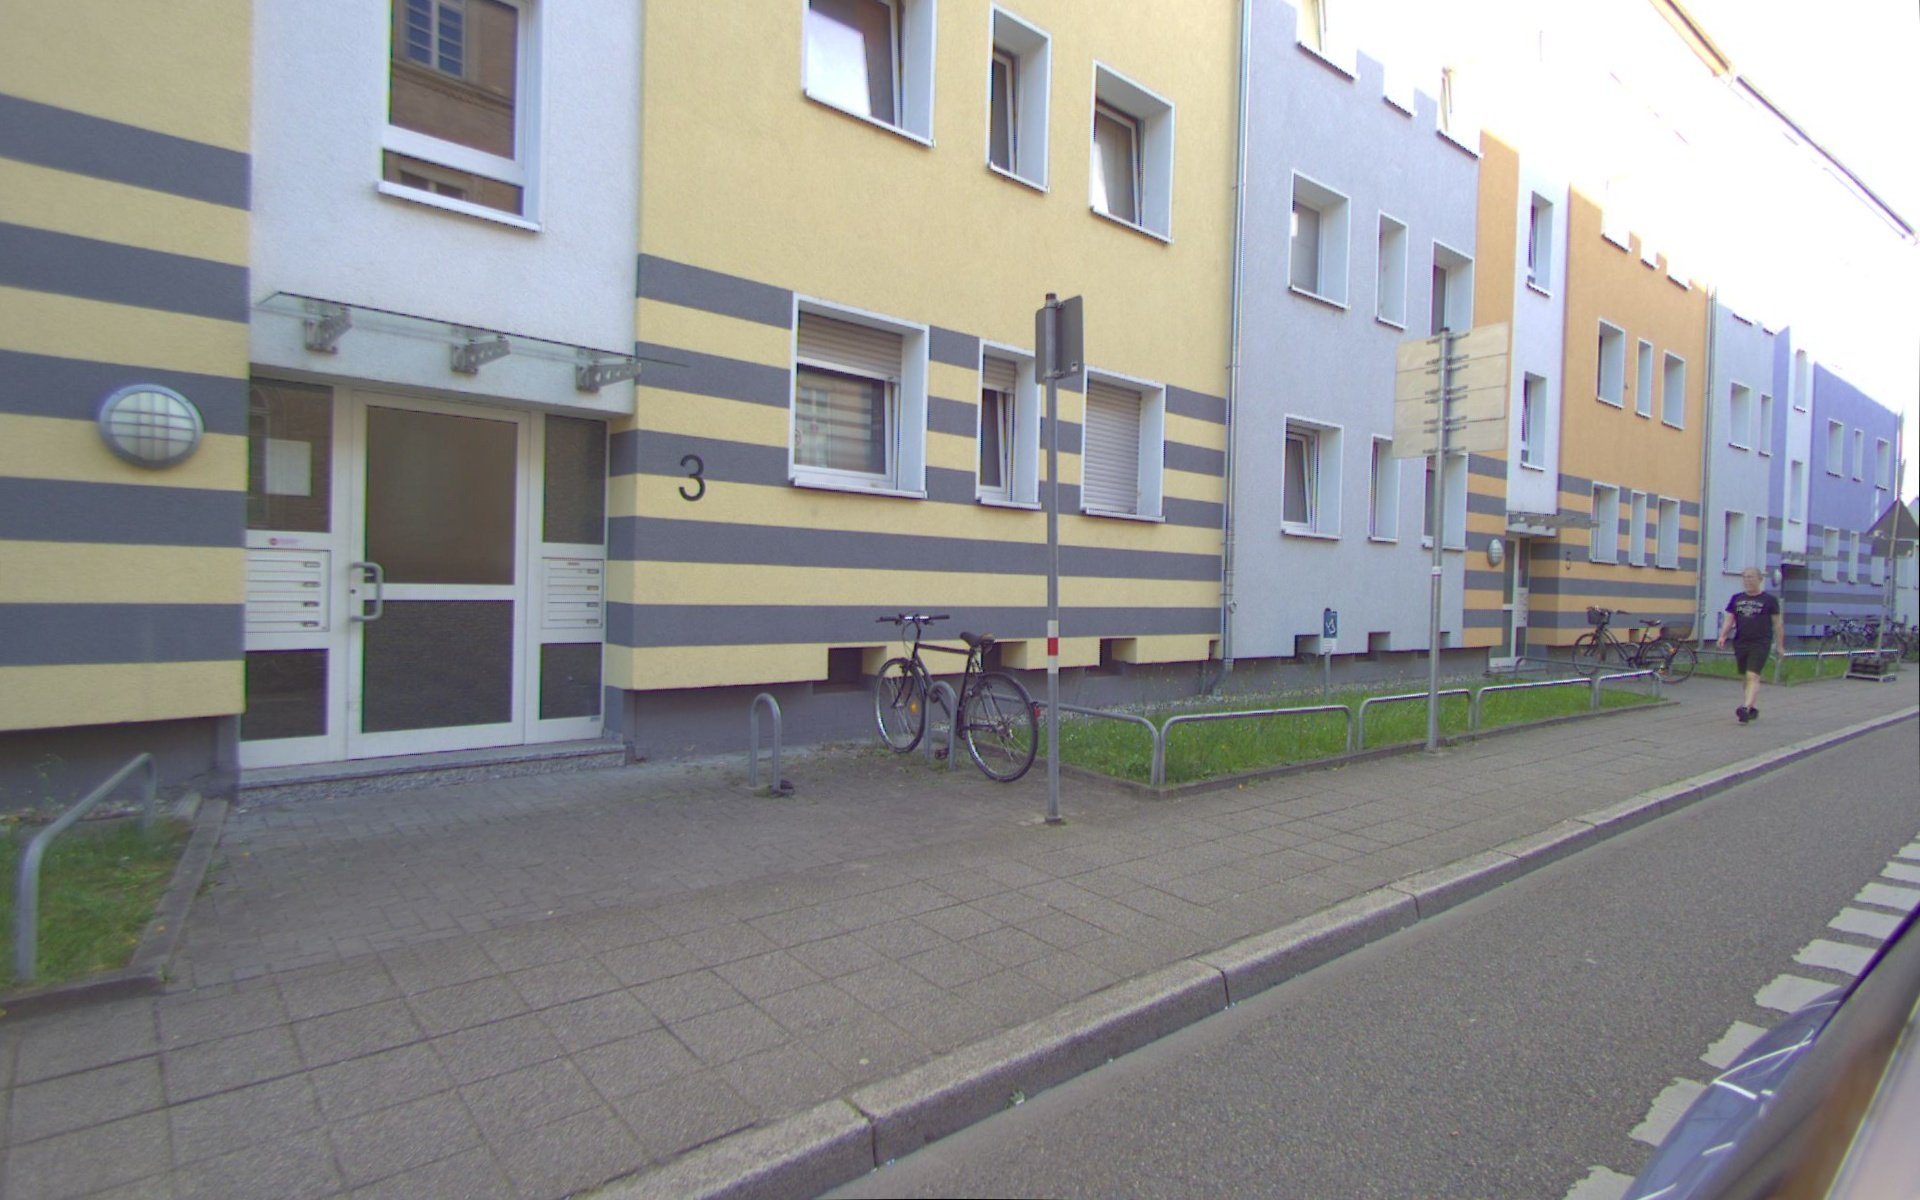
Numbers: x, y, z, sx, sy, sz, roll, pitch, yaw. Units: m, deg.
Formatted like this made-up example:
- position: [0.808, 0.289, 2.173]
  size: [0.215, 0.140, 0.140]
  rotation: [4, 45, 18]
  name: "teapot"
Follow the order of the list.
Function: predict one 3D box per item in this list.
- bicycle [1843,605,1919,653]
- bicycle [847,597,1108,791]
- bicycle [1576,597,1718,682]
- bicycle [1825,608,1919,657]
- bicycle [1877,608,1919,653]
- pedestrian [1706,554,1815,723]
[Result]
- position: [23.259, 0.724, 25.273]
  size: [0.625, 1.095, 1.711]
  rotation: [1, 2, -40]
  name: "bicycle"
- position: [0.054, 0.571, 7.056]
  size: [0.625, 1.074, 1.946]
  rotation: [1, 3, -42]
  name: "bicycle"
- position: [10.749, 0.588, 15.875]
  size: [0.625, 1.173, 1.709]
  rotation: [1, 3, -42]
  name: "bicycle"
- position: [22.290, 0.767, 24.679]
  size: [0.624, 1.058, 1.711]
  rotation: [1, 2, -39]
  name: "bicycle"
- position: [24.131, 0.787, 25.303]
  size: [0.625, 1.048, 1.709]
  rotation: [1, 3, -42]
  name: "bicycle"
- position: [9.118, 0.408, 11.526]
  size: [0.898, 1.810, 0.646]
  rotation: [1, 4, -38]
  name: "pedestrian"
